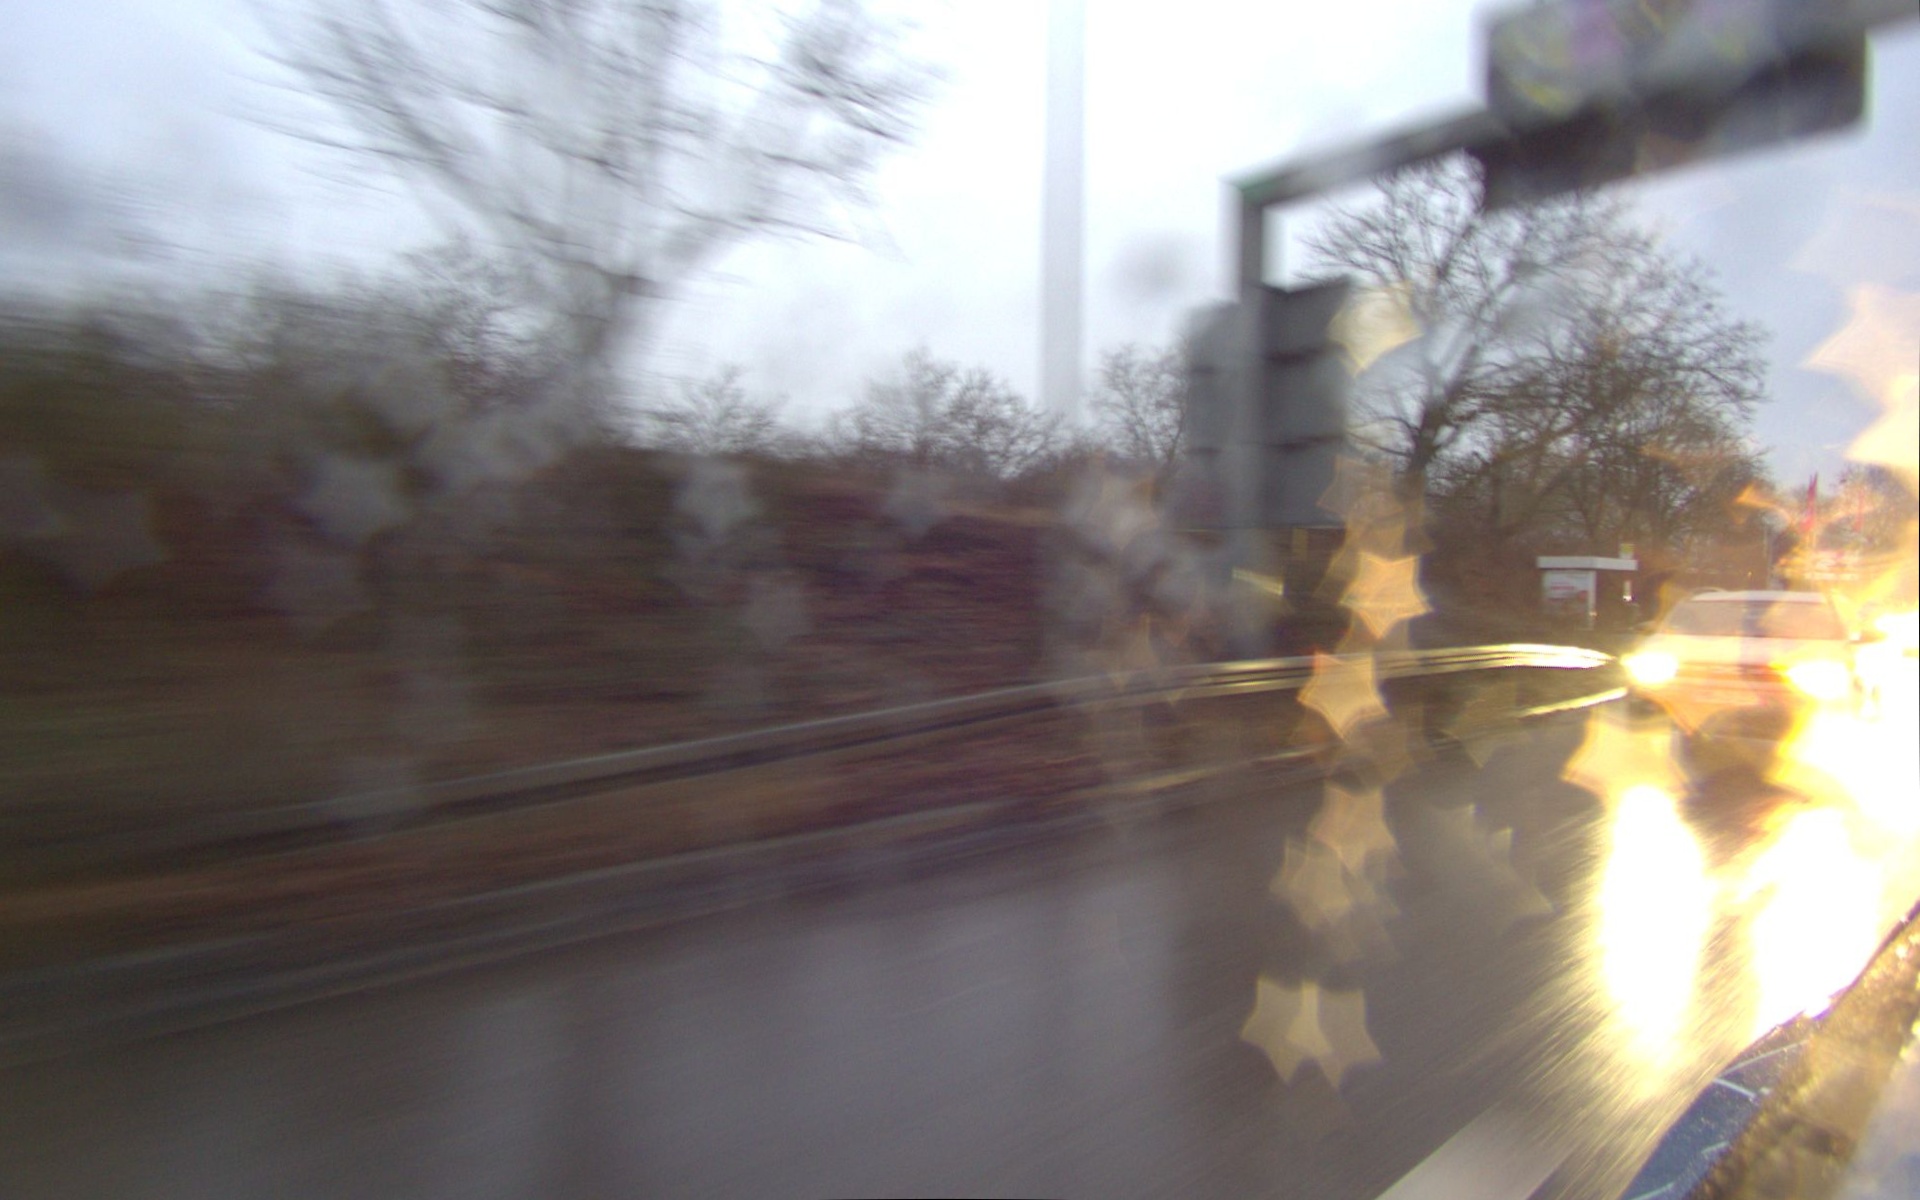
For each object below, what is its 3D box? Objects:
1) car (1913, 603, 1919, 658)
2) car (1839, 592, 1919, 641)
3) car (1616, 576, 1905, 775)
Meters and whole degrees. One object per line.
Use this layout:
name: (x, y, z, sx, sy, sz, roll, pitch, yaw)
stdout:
car: (27.314, 0.813, 27.434, 4.676, 1.393, 1.879, -1, 2, -43)
car: (34.716, 0.561, 38.173, 4.473, 1.639, 1.969, -1, 3, -44)
car: (8.481, 0.576, 10.569, 4.338, 1.638, 1.817, -1, 2, -44)
